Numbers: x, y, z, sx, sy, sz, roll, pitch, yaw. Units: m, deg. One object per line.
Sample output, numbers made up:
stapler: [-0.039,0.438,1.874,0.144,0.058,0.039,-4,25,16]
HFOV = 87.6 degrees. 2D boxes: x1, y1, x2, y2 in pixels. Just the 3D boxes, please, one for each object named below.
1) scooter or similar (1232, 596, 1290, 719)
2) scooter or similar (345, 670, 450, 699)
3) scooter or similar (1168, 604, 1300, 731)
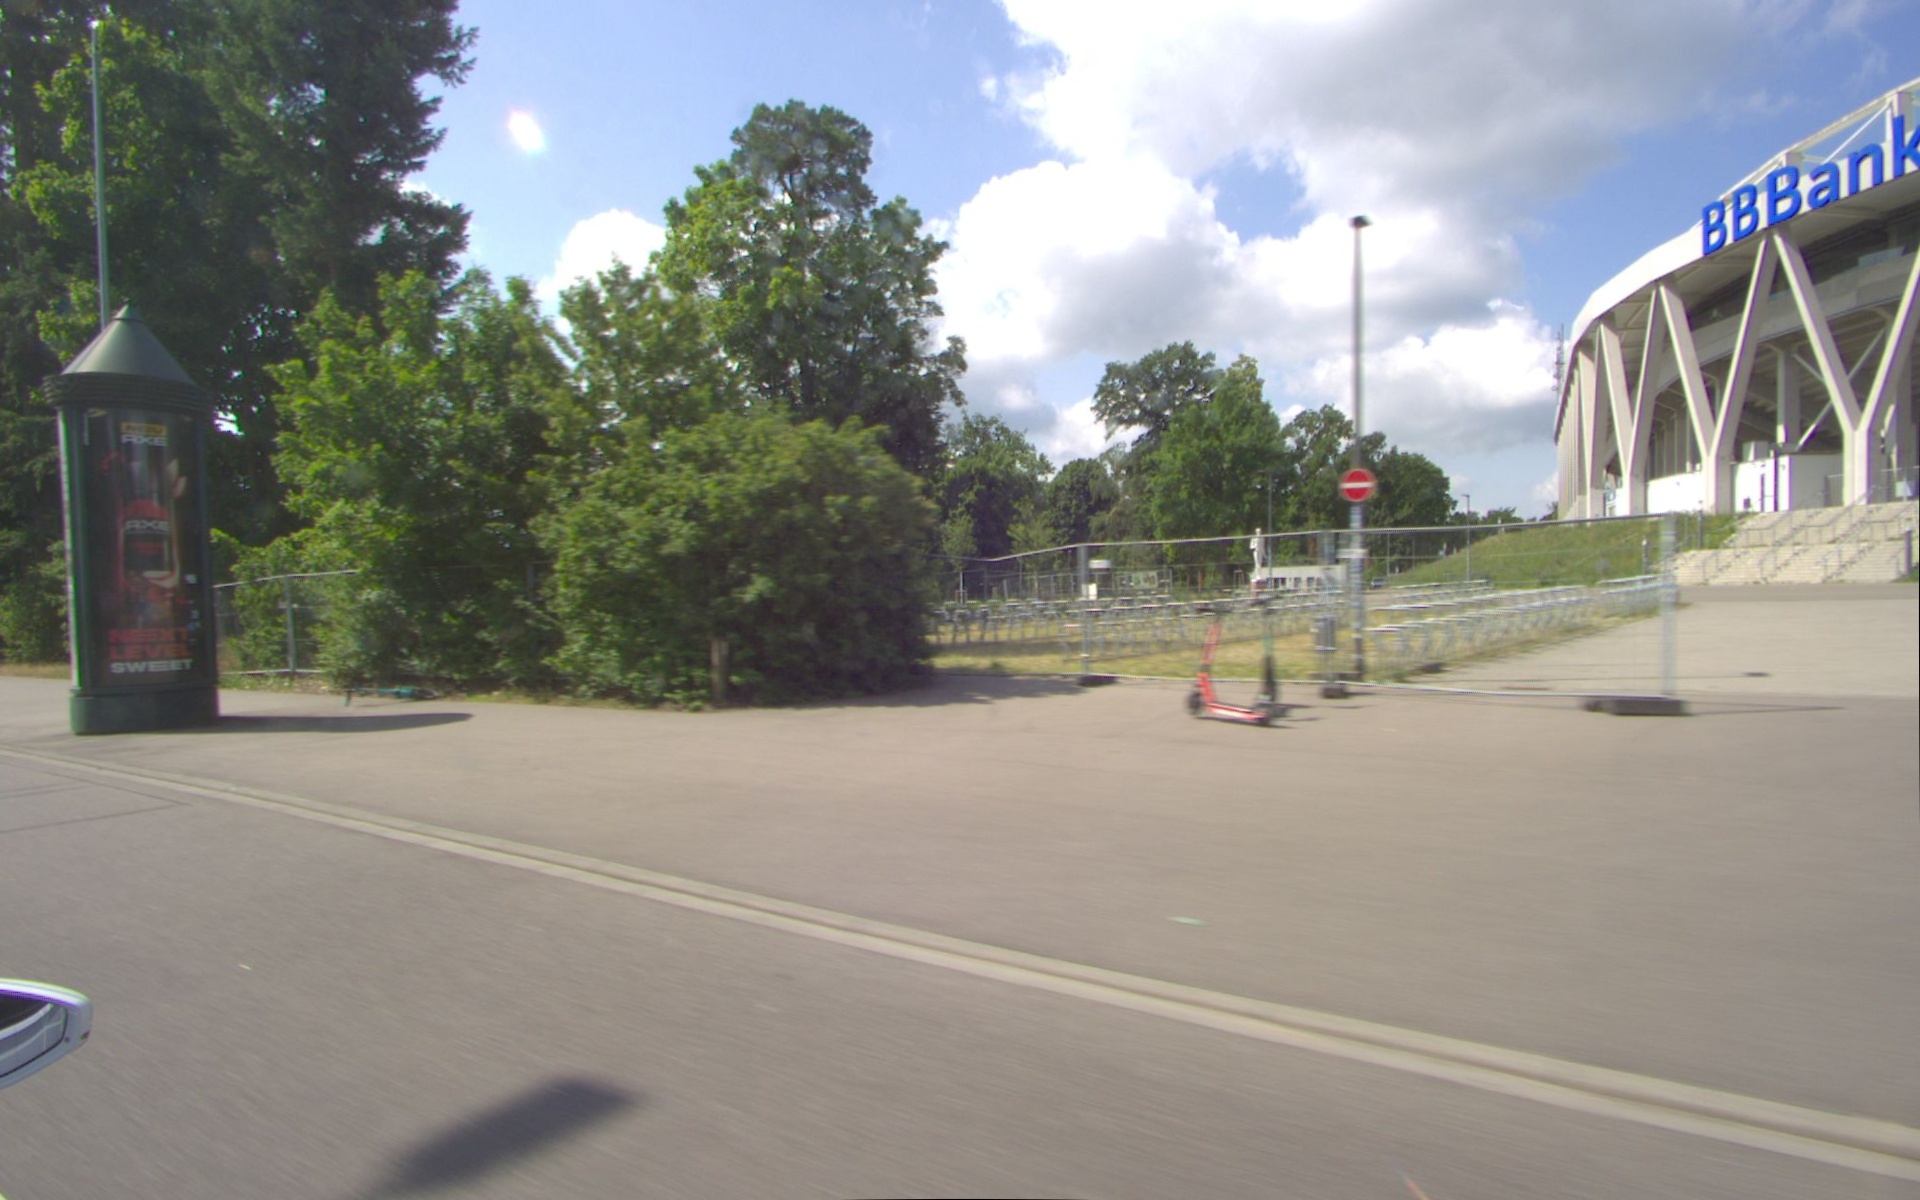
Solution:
scooter or similar: [3.368,0.605,11.152,0.401,1.269,1.306,-1,2,25]
scooter or similar: [-8.915,1.343,15.876,1.453,0.393,0.852,-5,-7,31]
scooter or similar: [2.802,0.659,10.317,0.402,1.216,1.301,-3,2,-39]
